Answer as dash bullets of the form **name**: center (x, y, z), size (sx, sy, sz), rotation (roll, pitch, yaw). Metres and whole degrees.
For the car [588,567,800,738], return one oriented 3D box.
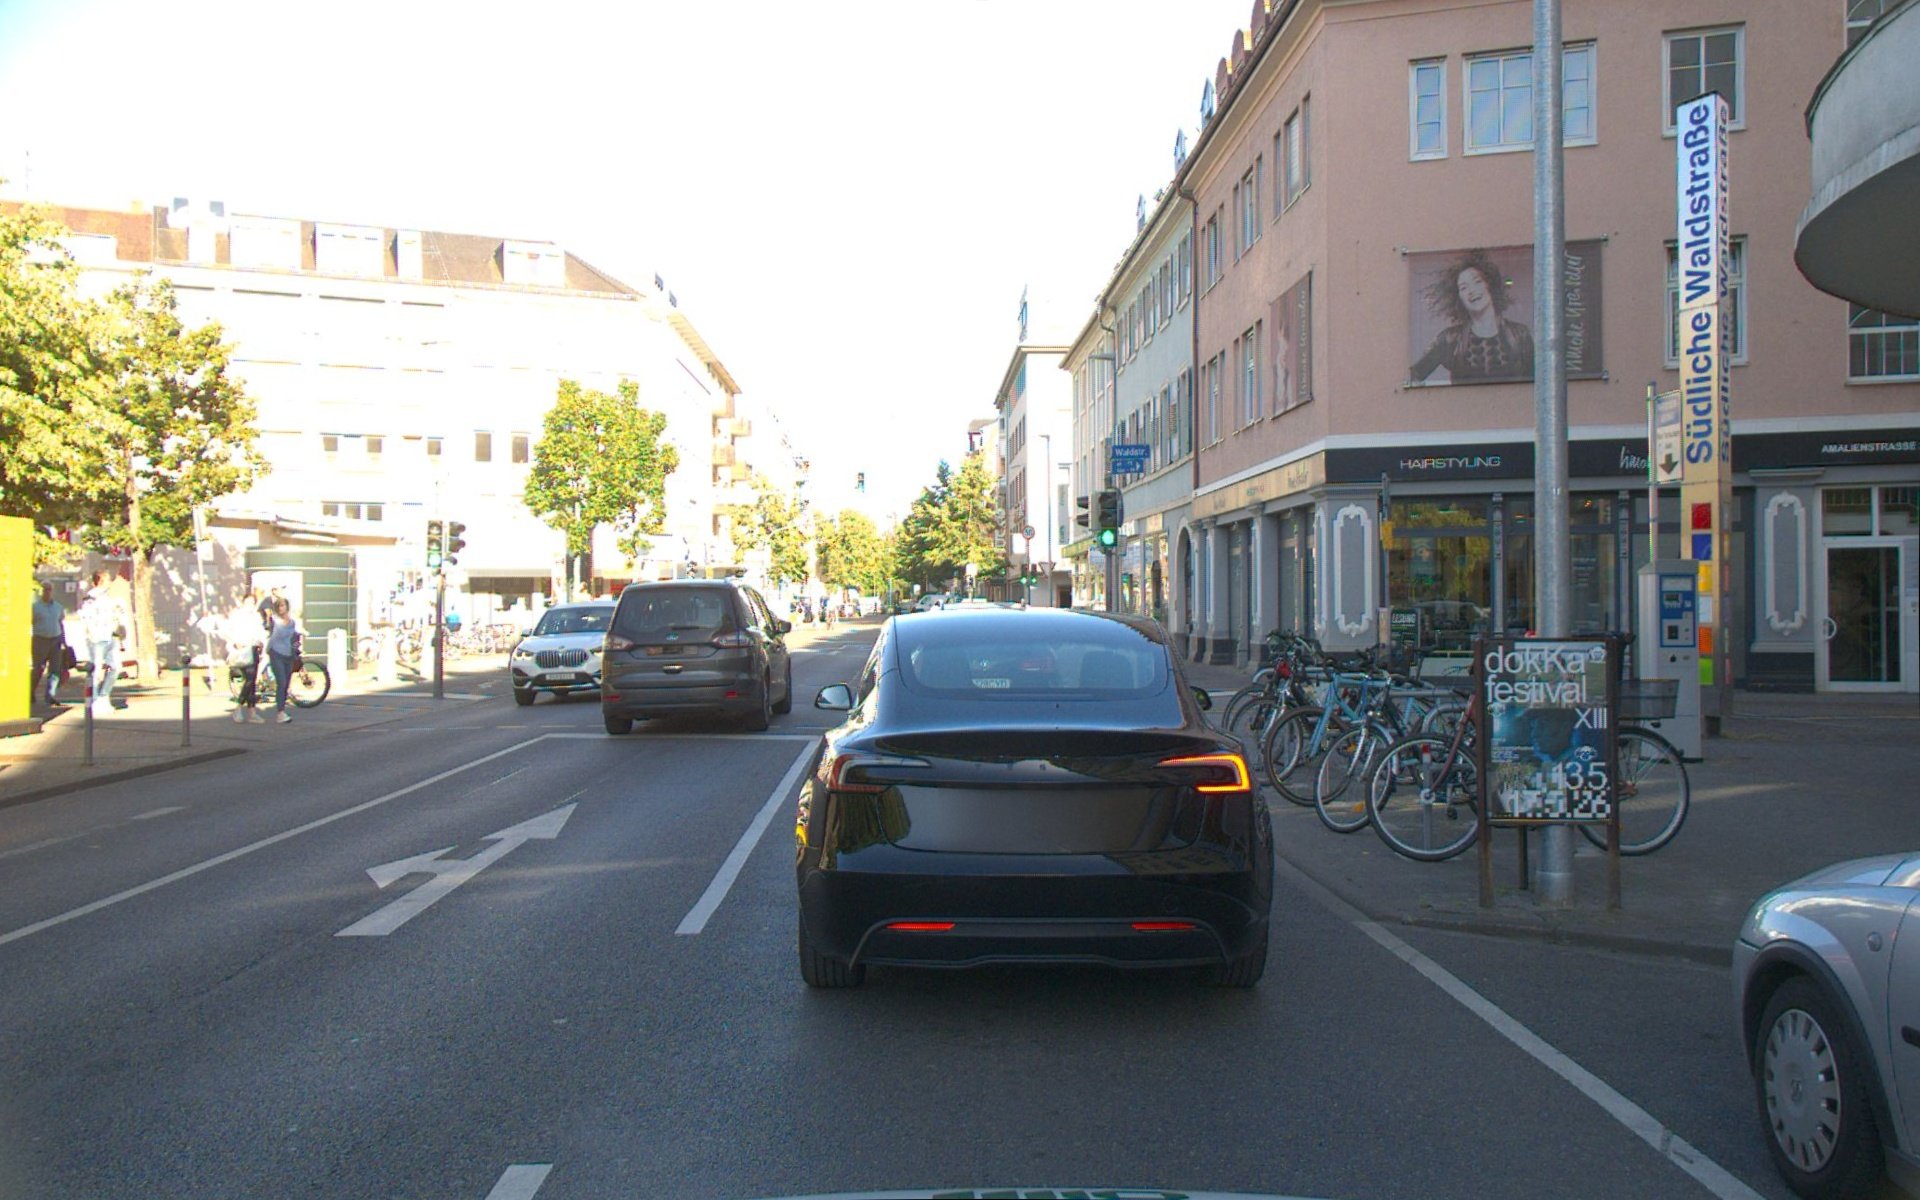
- **car**: center (-3.075, 0.561, 20.081), size (1.953, 1.803, 4.726), rotation (-1, 0, -2)

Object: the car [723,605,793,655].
- **car**: center (-6.822, 0.990, 56.272), size (1.954, 1.461, 4.671), rotation (-4, 0, -3)

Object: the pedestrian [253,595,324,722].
- **pedestrian**: center (-9.137, 0.785, 22.520), size (0.670, 1.692, 0.620), rotation (0, -1, 28)

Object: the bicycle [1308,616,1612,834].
- **bicycle**: center (3.139, 0.774, 10.525), size (1.686, 1.290, 0.791), rotation (-2, 0, 5)

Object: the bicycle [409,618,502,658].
- **bicycle**: center (-14.904, 1.114, 48.925), size (2.485, 1.176, 0.841), rotation (0, 0, -6)

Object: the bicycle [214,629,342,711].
- **bicycle**: center (-10.546, 1.060, 25.563), size (2.019, 1.159, 0.538), rotation (2, 0, 23)

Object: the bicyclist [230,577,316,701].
- **bicyclist**: center (-10.628, 0.594, 25.586), size (0.930, 1.870, 0.788), rotation (1, 0, 23)

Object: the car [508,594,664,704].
- **car**: center (-6.156, 0.757, 27.682), size (1.771, 1.582, 4.307), rotation (-4, 0, -3)

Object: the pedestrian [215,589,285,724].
- **pedestrian**: center (-9.441, 0.736, 21.985), size (0.537, 1.758, 0.673), rotation (0, -1, 32)

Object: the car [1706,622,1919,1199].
- **car**: center (2.949, 0.787, 2.938), size (1.580, 1.406, 3.642), rotation (1, 0, 0)

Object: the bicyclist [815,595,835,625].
- **bicyclist**: center (-7.746, 0.570, 94.857), size (1.104, 1.657, 0.964), rotation (0, 0, -4)

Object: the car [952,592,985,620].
- **car**: center (0.506, 0.360, 100.209), size (1.953, 1.657, 3.999), rotation (0, 0, -1)

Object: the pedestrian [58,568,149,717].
- **pedestrian**: center (-11.725, 0.572, 22.655), size (0.811, 1.989, 0.710), rotation (1, 0, 11)

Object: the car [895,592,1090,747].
- **car**: center (0.250, 0.695, 18.612), size (1.953, 1.538, 4.173), rotation (0, 0, -2)

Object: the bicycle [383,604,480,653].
- **bicycle**: center (-14.725, 0.791, 46.171), size (2.429, 1.347, 0.921), rotation (0, 0, -6)

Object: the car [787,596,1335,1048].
- **car**: center (0.307, 0.740, 7.460), size (1.810, 1.480, 3.999), rotation (0, 0, -1)

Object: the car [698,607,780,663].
- **car**: center (-6.436, 0.986, 48.687), size (1.954, 1.434, 4.671), rotation (-4, 0, -3)

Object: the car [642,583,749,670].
- **car**: center (-6.358, 0.601, 40.186), size (1.797, 1.877, 4.673), rotation (-4, 0, -1)

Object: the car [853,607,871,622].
- **car**: center (-11.051, 1.600, 186.250), size (1.954, 1.666, 3.997), rotation (0, 0, -4)

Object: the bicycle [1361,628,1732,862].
- **bicycle**: center (3.286, 0.806, 9.395), size (1.846, 1.214, 0.692), rotation (-2, 0, 5)

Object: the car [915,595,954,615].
- **car**: center (-2.629, 0.509, 166.880), size (3.907, 2.049, 1.999), rotation (0, 0, -2)

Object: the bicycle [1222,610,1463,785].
- **bicycle**: center (2.987, 0.751, 13.053), size (1.709, 1.289, 0.781), rotation (-2, 0, 2)

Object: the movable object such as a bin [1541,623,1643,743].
- **movable object such as a bin**: center (6.042, 0.785, 15.833), size (0.737, 1.111, 0.627), rotation (1, -1, 1)

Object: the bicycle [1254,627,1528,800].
- **bicycle**: center (3.056, 0.798, 11.875), size (1.760, 1.144, 0.782), rotation (-2, 0, 5)

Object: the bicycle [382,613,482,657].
- **bicycle**: center (-14.116, 0.932, 44.248), size (2.412, 1.176, 0.842), rotation (0, 0, -2)

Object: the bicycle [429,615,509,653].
- **bicycle**: center (-15.229, 1.046, 51.348), size (2.279, 1.176, 0.841), rotation (0, 0, -6)

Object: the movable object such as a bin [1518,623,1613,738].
- **movable object such as a bin**: center (6.021, 0.789, 16.470), size (0.718, 1.111, 0.627), rotation (1, -1, 1)

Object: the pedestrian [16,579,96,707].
- **pedestrian**: center (-13.458, 0.630, 24.628), size (0.828, 1.859, 0.740), rotation (0, -1, 33)

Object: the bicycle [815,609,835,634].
- **bicycle**: center (-7.730, 1.197, 94.762), size (1.089, 1.368, 3.997), rotation (0, 0, -4)

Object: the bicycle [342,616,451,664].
- **bicycle**: center (-14.202, 1.008, 41.714), size (2.455, 1.176, 0.842), rotation (0, 0, -2)

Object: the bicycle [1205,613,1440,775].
- **bicycle**: center (3.051, 0.780, 14.084), size (1.822, 1.280, 0.833), rotation (-2, 0, 5)
